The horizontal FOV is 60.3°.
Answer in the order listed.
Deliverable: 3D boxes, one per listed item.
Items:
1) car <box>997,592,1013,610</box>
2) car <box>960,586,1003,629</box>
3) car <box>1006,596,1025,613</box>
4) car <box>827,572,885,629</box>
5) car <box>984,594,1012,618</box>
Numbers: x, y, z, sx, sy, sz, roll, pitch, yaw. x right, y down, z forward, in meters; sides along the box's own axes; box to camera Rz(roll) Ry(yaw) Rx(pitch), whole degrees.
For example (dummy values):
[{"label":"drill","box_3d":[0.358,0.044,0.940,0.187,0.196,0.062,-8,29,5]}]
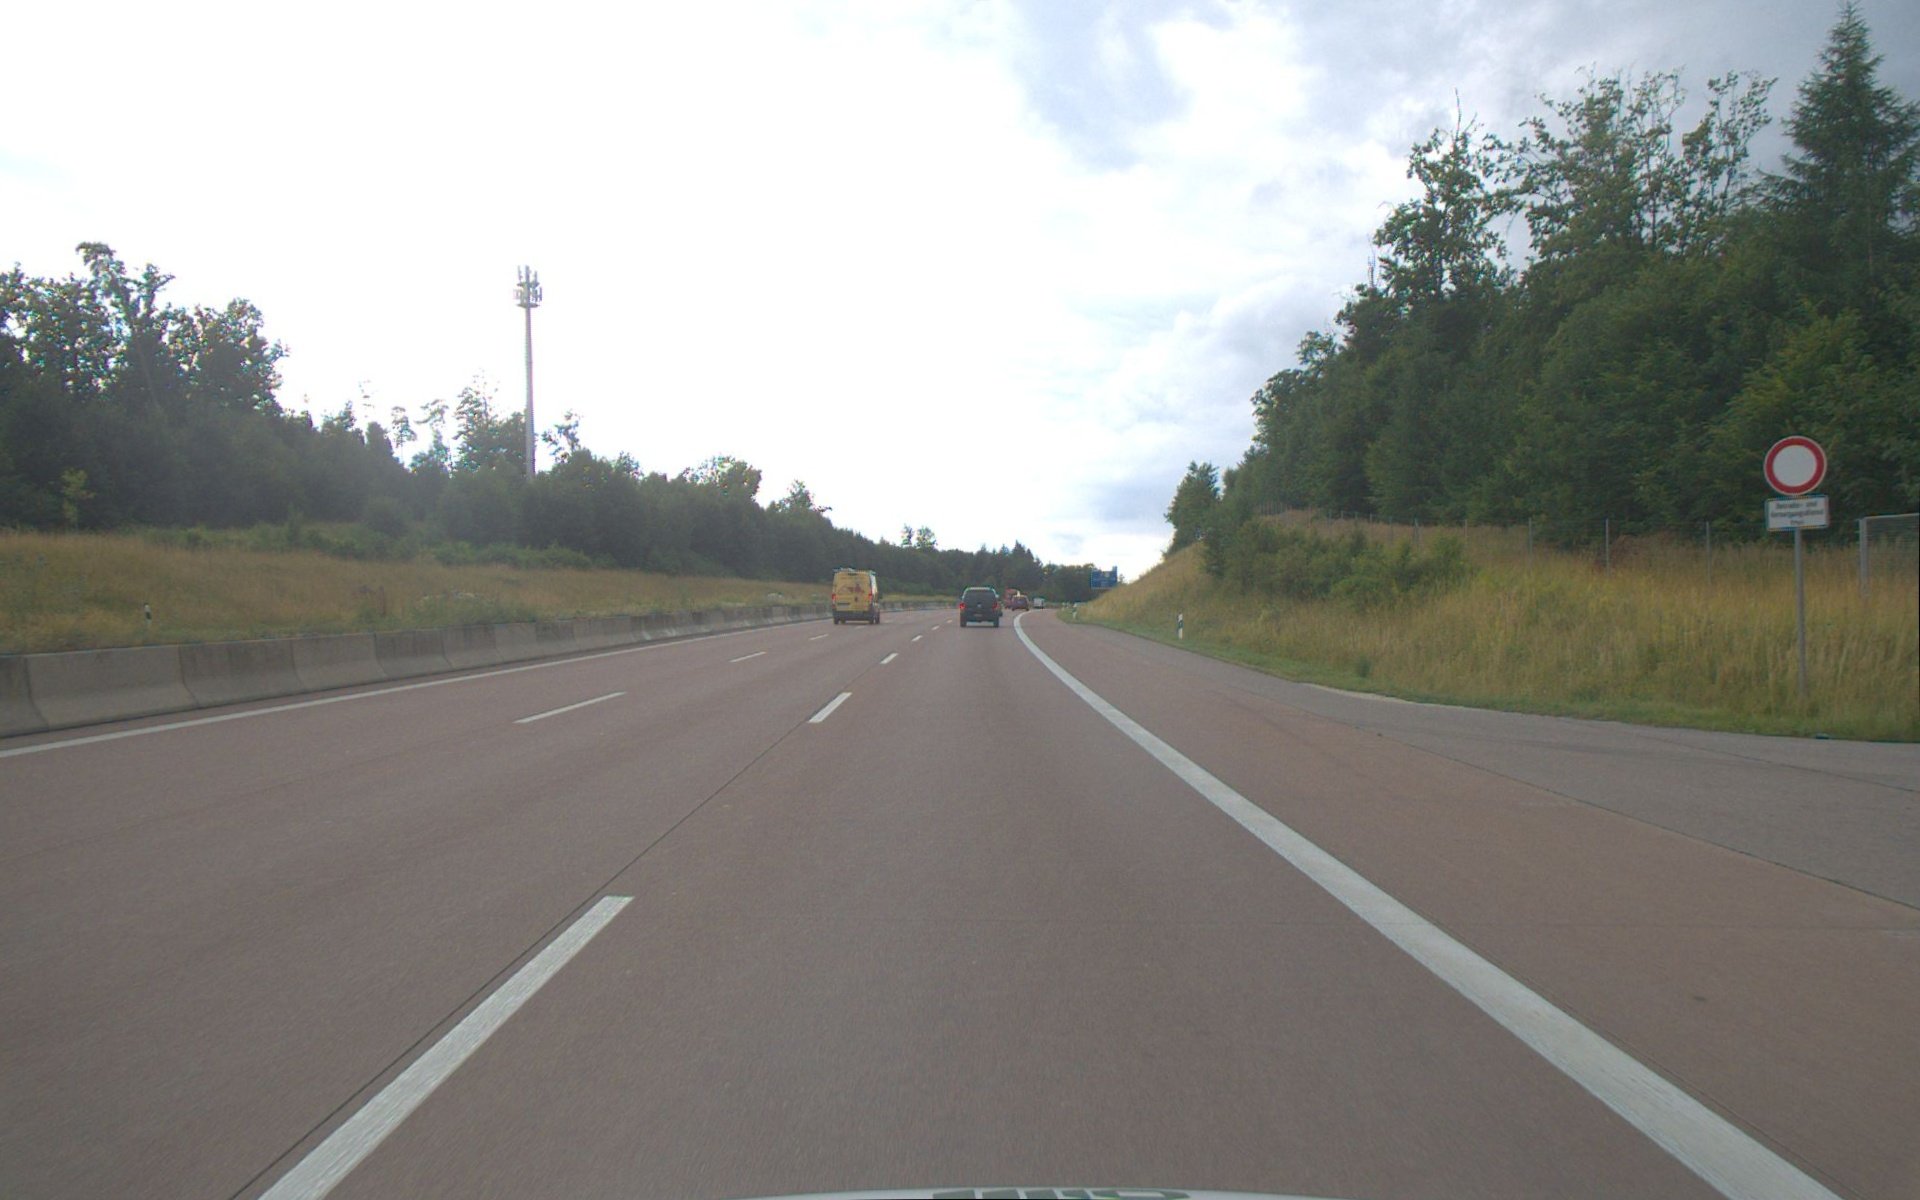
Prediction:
[{"label":"car","box_3d":[6.431,0.157,236.480,2.194,2.473,6.206,0,-1,3]},{"label":"car","box_3d":[1.005,0.394,79.776,2.002,1.930,5.576,-1,-1,0]},{"label":"car","box_3d":[6.058,0.514,181.088,1.937,1.677,4.618,-1,-1,0]},{"label":"car","box_3d":[-5.234,0.084,83.907,2.408,2.754,5.614,-1,-1,1]},{"label":"car","box_3d":[2.796,0.454,120.692,1.936,1.677,4.620,1,-1,2]}]
